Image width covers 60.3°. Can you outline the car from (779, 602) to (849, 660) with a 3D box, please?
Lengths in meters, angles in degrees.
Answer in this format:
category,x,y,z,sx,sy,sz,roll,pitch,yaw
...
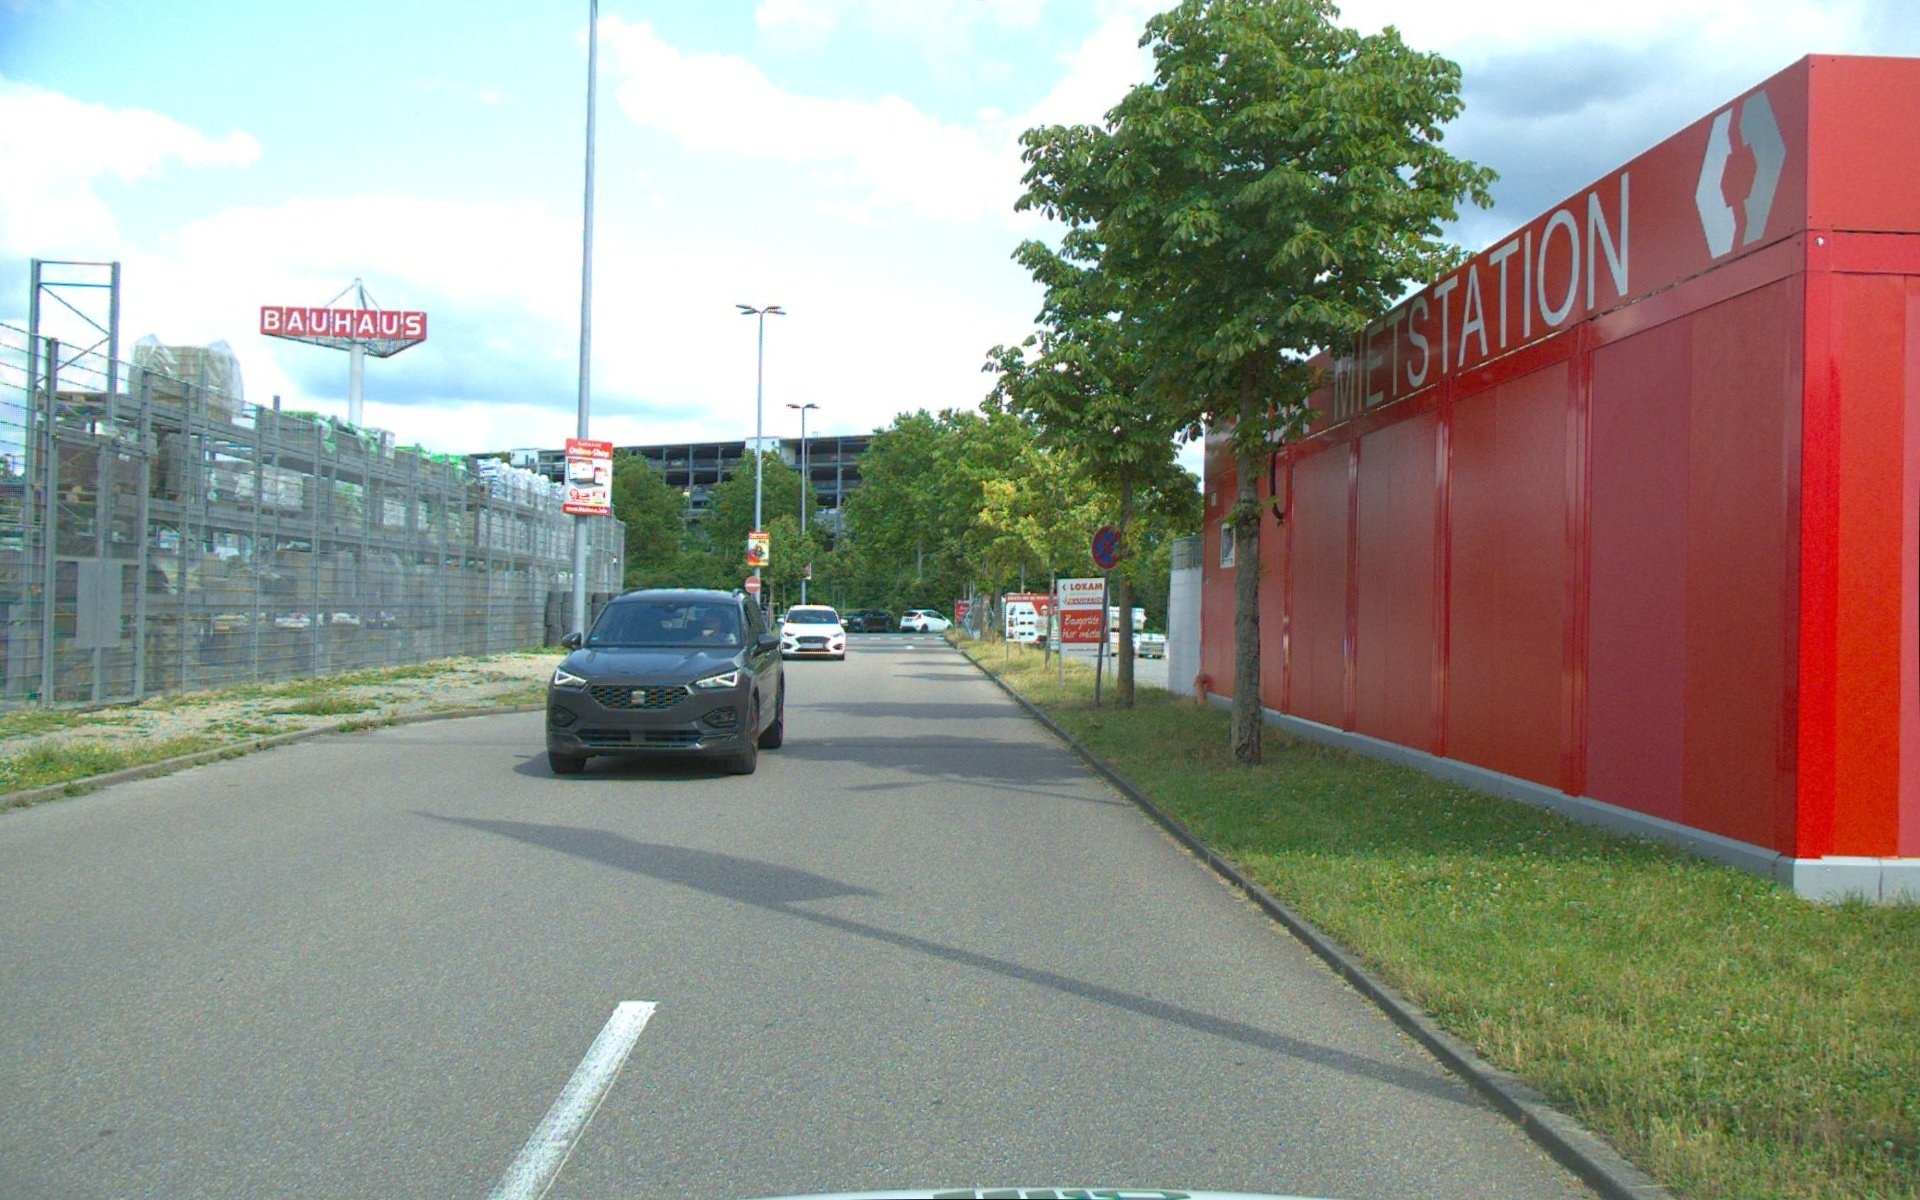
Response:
category,x,y,z,sx,sy,sz,roll,pitch,yaw
car,-4.029,0.836,46.184,1.768,1.490,4.326,1,0,-3

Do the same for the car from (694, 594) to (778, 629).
category,x,y,z,sx,sy,sz,roll,pitch,yaw
car,-11.070,0.577,81.920,3.869,1.653,1.736,1,0,0

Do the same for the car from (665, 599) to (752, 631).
category,x,y,z,sx,sy,sz,roll,pitch,yaw
car,-11.349,0.660,74.795,3.675,1.392,1.620,1,0,-2

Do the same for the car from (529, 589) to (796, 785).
category,x,y,z,sx,sy,sz,roll,pitch,yaw
car,-2.727,0.723,16.149,1.876,1.646,4.373,0,0,-1

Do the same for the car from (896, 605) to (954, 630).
category,x,y,z,sx,sy,sz,roll,pitch,yaw
car,-2.104,1.062,100.011,1.637,1.436,3.543,0,-1,37

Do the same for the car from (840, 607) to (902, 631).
category,x,y,z,sx,sy,sz,roll,pitch,yaw
car,-5.467,1.169,102.344,1.697,1.435,4.232,0,0,32

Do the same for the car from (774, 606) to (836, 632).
category,x,y,z,sx,sy,sz,roll,pitch,yaw
car,-9.828,1.218,105.107,1.656,1.536,4.067,-5,-4,35
